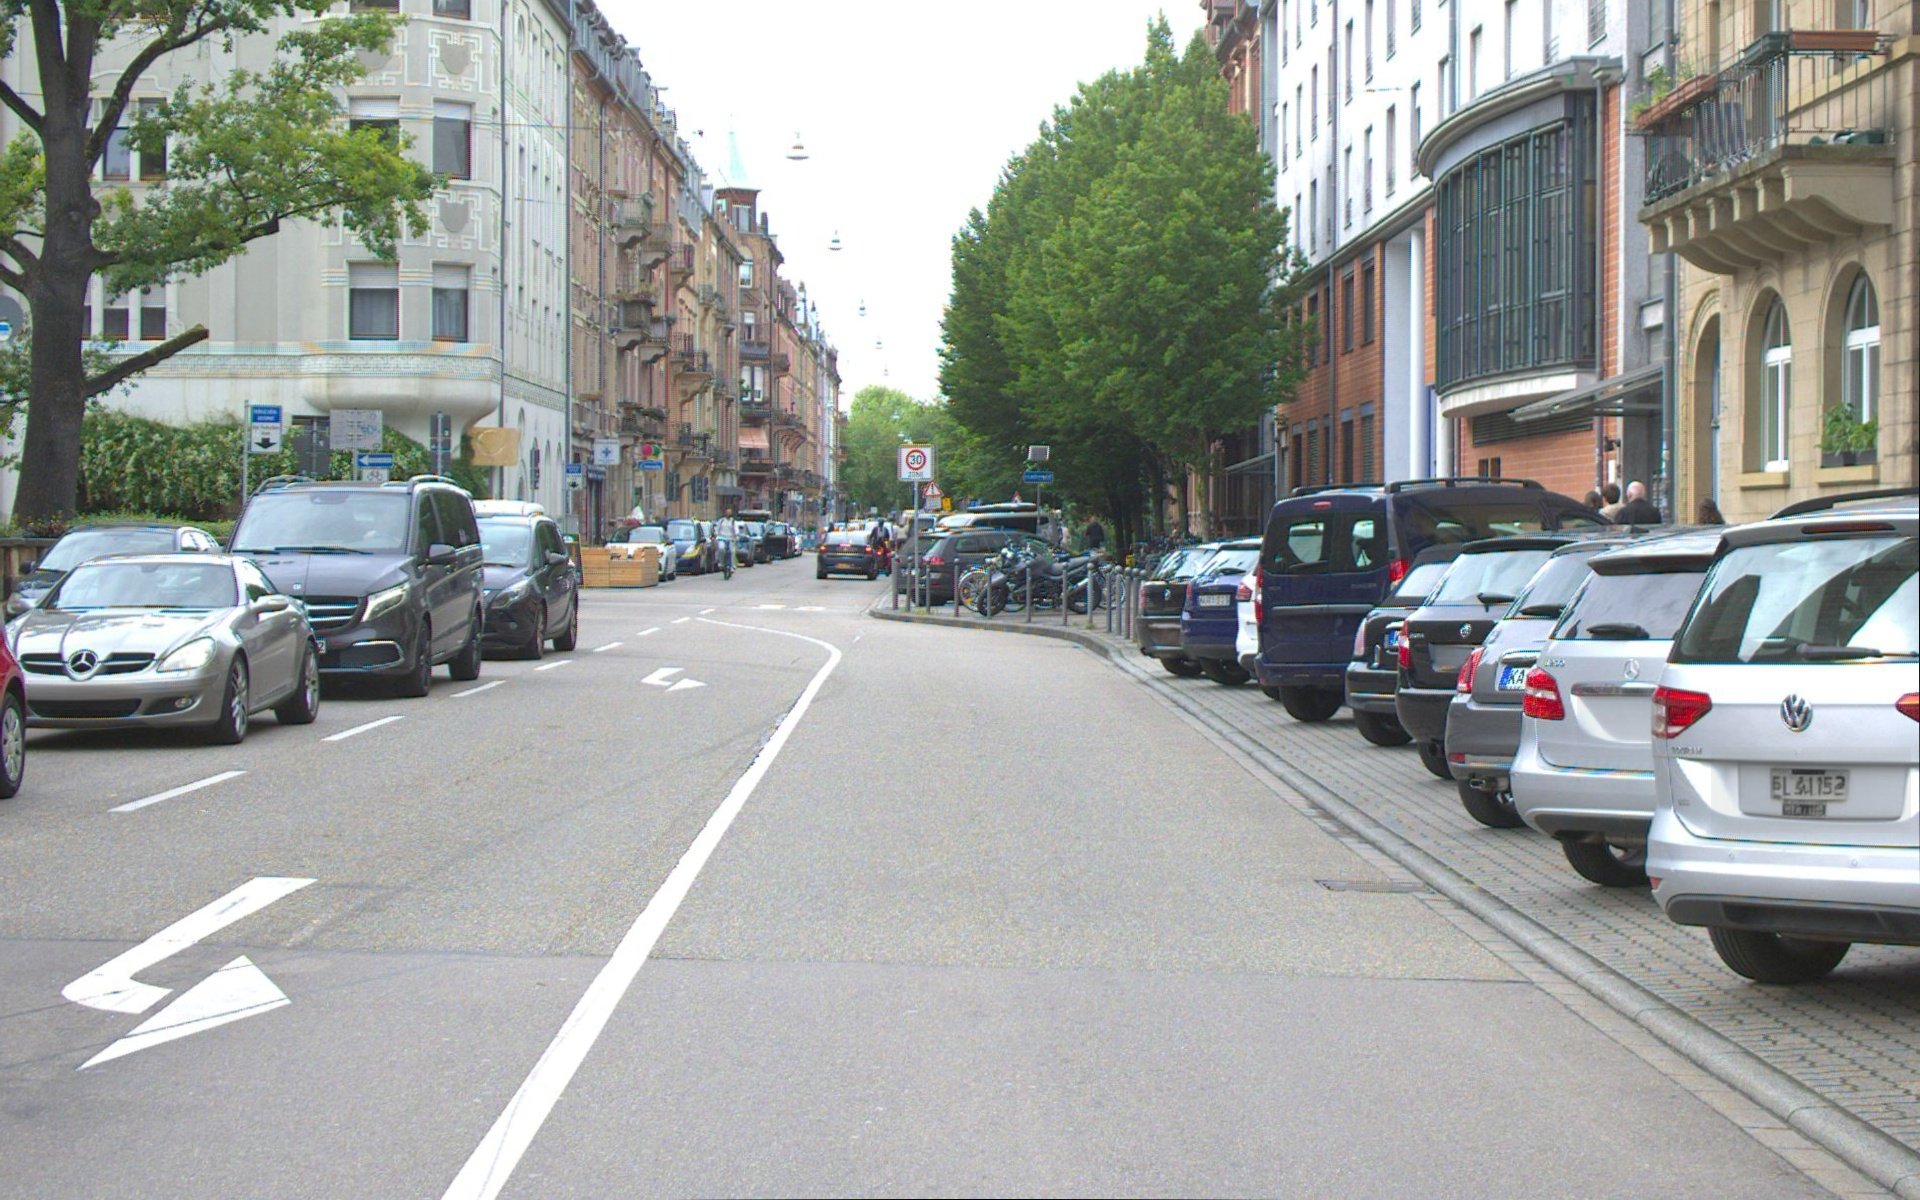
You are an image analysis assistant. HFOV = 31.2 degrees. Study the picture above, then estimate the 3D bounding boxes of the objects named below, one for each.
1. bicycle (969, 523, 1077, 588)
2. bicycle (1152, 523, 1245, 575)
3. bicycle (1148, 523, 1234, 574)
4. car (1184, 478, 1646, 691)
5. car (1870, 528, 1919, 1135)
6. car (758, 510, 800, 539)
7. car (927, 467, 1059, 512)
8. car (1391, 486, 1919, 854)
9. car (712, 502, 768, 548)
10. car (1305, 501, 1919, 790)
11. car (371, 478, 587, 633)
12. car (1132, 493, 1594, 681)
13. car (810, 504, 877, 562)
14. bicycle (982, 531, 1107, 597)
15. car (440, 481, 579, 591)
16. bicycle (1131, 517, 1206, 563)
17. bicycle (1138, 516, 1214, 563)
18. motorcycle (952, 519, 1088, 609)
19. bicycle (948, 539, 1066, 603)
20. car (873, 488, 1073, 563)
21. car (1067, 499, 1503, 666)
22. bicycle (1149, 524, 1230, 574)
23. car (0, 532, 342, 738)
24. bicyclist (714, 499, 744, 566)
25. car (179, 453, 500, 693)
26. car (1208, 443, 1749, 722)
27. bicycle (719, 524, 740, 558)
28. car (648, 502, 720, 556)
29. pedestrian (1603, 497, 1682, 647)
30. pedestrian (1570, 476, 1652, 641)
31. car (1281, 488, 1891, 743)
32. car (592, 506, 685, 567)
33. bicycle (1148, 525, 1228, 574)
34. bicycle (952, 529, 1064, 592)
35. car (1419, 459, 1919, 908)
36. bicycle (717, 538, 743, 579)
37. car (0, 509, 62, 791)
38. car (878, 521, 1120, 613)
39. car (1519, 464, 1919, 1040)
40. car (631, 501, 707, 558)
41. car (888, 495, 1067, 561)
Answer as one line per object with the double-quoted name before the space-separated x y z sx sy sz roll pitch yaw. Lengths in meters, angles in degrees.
"bicycle" 1.119 -0.794 61.314 1.883 1.137 0.612 -1 0 -3
"bicycle" 5.138 -1.098 74.085 1.933 1.088 0.577 1 0 -1
"bicycle" 5.062 -1.122 75.500 1.836 1.088 0.543 1 0 -1
"car" 4.063 -0.183 30.369 3.989 1.596 1.765 -5 4 -40
"car" 4.252 0.457 9.063 3.578 1.503 1.848 -5 2 -41
"car" -8.867 -3.682 168.233 1.993 1.316 4.001 1 0 -4
"car" 1.433 -4.759 147.763 5.386 1.861 1.951 -1 1 -30
"car" 4.473 0.258 18.016 4.453 1.568 1.747 -4 3 -39
"car" -8.675 -2.951 135.697 1.944 1.736 3.943 1 1 0
"car" 4.378 0.200 21.127 4.452 1.547 1.851 -2 2 -39
"car" -5.497 -0.555 39.779 1.845 1.678 4.549 1 2 0
"car" 3.891 -0.170 33.080 3.987 1.528 1.932 -4 3 -29
"car" -3.527 -2.017 104.436 1.993 1.675 4.000 1 0 -2
"bicycle" 1.393 -0.600 56.897 2.009 1.059 0.612 -1 0 -3
"car" -8.251 -1.206 63.326 1.843 1.933 4.548 1 2 1
"bicycle" 5.028 -1.440 82.767 1.752 1.088 0.565 1 0 -1
"bicycle" 5.158 -1.436 82.091 1.752 1.088 0.565 1 0 -1
"motorcycle" 0.963 -0.579 55.804 2.133 1.424 0.771 -1 0 -3
"bicycle" 0.784 -0.489 57.681 1.929 1.040 0.612 -1 0 -3
"car" 0.395 -2.160 99.254 5.607 2.120 1.950 -1 1 -34
"car" 3.432 -0.221 36.186 4.246 1.473 1.685 -4 3 -24
"bicycle" 5.133 -1.134 76.824 1.752 1.088 0.565 1 0 -1
"car" -5.596 0.194 24.129 1.704 1.282 4.042 -2 1 1
"bicyclist" -6.451 -1.900 96.085 0.782 1.859 0.714 1 1 1
"car" -5.447 -0.298 30.852 1.912 1.948 5.284 1 2 0
"car" 4.167 -0.201 27.233 4.271 1.900 1.879 -5 4 -41
"bicycle" -6.784 -1.721 101.126 0.535 0.974 1.865 1 0 -1
"car" -8.613 -2.224 107.614 1.944 1.611 3.943 1 1 0
"pedestrian" 6.977 -0.284 35.166 0.561 1.524 0.553 1 0 -43
"pedestrian" 7.088 -0.455 37.452 0.629 1.747 0.812 -3 2 -4
"car" 4.484 0.068 24.391 4.059 1.448 2.031 -5 3 -39
"car" -8.480 -1.686 90.939 1.944 1.548 3.817 -1 1 2
"bicycle" 5.158 -1.145 77.709 1.752 1.088 0.565 1 0 -1
"bicycle" 0.819 -0.680 59.316 1.883 1.040 0.612 -1 0 -3
"car" 4.446 0.228 15.131 4.738 1.679 1.936 -3 1 -36
"bicycle" -6.419 -1.162 95.986 0.567 1.083 1.987 1 2 1
"car" -5.751 0.290 17.138 1.602 1.452 3.718 -2 1 -1
"car" 0.759 -0.641 65.635 4.274 1.573 1.863 -3 2 -33
"car" 4.149 0.375 11.745 4.211 1.676 1.916 -2 1 -34
"car" -8.624 -2.100 102.141 1.944 1.611 3.943 1 1 0
"car" 0.568 -2.250 107.363 5.387 1.985 1.950 -1 1 -34
